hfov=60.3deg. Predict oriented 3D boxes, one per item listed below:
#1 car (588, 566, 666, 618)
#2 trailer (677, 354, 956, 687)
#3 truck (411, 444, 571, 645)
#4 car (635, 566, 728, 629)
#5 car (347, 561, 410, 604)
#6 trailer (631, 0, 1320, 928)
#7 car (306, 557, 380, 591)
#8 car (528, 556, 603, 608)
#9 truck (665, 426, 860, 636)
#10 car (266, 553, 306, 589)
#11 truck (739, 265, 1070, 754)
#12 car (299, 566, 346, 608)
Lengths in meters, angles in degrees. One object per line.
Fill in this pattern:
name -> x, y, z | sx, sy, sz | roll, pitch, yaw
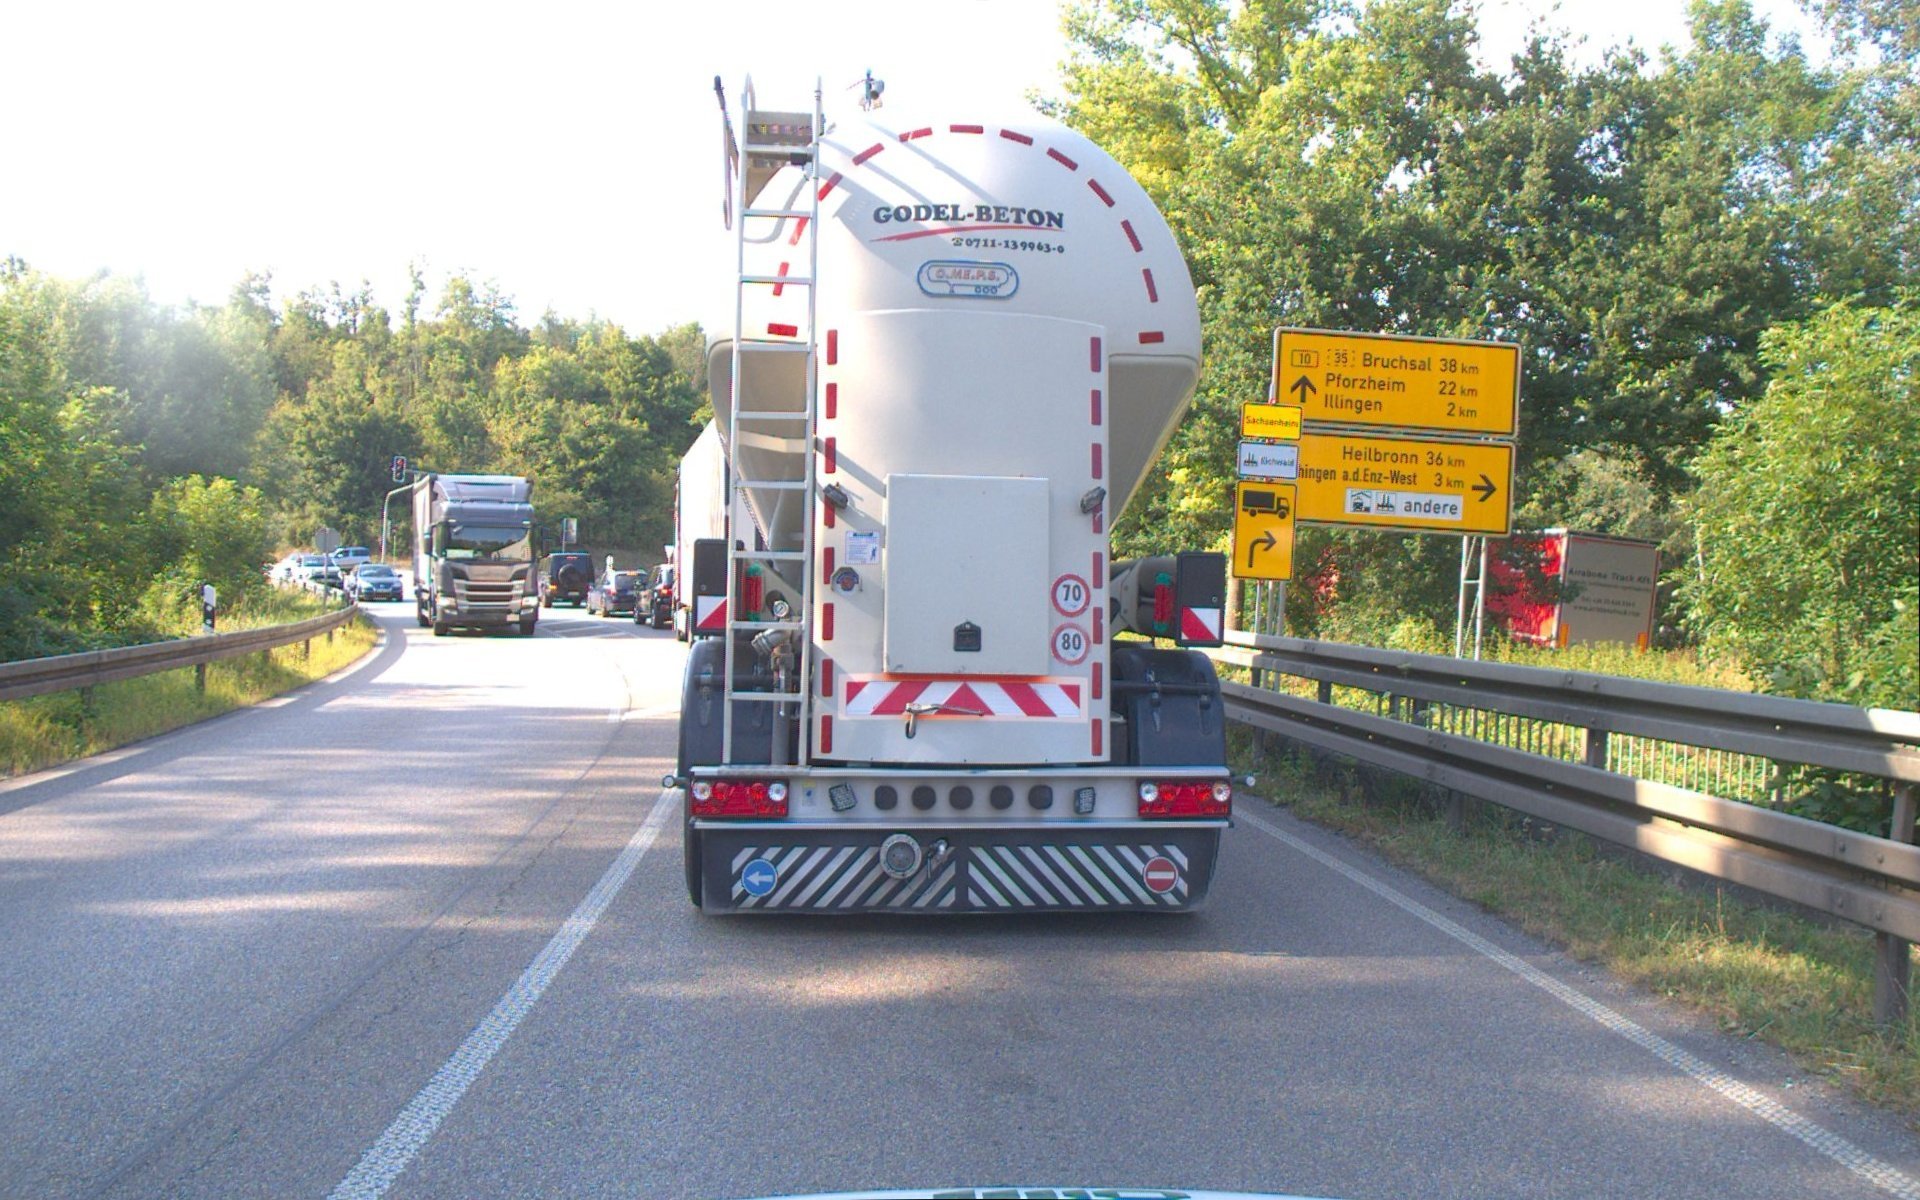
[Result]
car -> -10.832, -0.289, 53.617 | 1.841, 1.592, 3.974 | 0, 1, -21
trailer -> -3.103, -1.142, 29.939 | 3.483, 4.592, 12.947 | 2, 0, -11
truck -> -12.634, -1.334, 43.864 | 2.970, 4.665, 10.174 | 1, 0, -22
car -> -7.764, -0.124, 45.829 | 1.840, 1.656, 3.976 | 0, 1, -20
car -> -23.172, -0.716, 65.846 | 1.845, 1.584, 3.967 | 3, 0, -26
trailer -> -0.299, -0.917, 11.712 | 2.830, 4.532, 9.596 | 1, 0, -5
car -> -38.184, -1.620, 102.443 | 1.832, 1.884, 3.994 | 3, 0, 28
car -> -14.896, -0.722, 62.271 | 1.933, 1.883, 3.966 | -1, 2, -26
truck -> -4.562, -1.460, 36.887 | 3.393, 4.157, 6.466 | 2, 1, -15
car -> -38.048, -1.633, 93.463 | 1.840, 1.883, 3.977 | 3, 0, -20
truck -> -0.825, -0.763, 17.042 | 2.771, 4.105, 5.885 | 1, 0, -7
car -> -29.602, -0.620, 76.764 | 1.843, 1.883, 3.971 | -1, 2, -24
